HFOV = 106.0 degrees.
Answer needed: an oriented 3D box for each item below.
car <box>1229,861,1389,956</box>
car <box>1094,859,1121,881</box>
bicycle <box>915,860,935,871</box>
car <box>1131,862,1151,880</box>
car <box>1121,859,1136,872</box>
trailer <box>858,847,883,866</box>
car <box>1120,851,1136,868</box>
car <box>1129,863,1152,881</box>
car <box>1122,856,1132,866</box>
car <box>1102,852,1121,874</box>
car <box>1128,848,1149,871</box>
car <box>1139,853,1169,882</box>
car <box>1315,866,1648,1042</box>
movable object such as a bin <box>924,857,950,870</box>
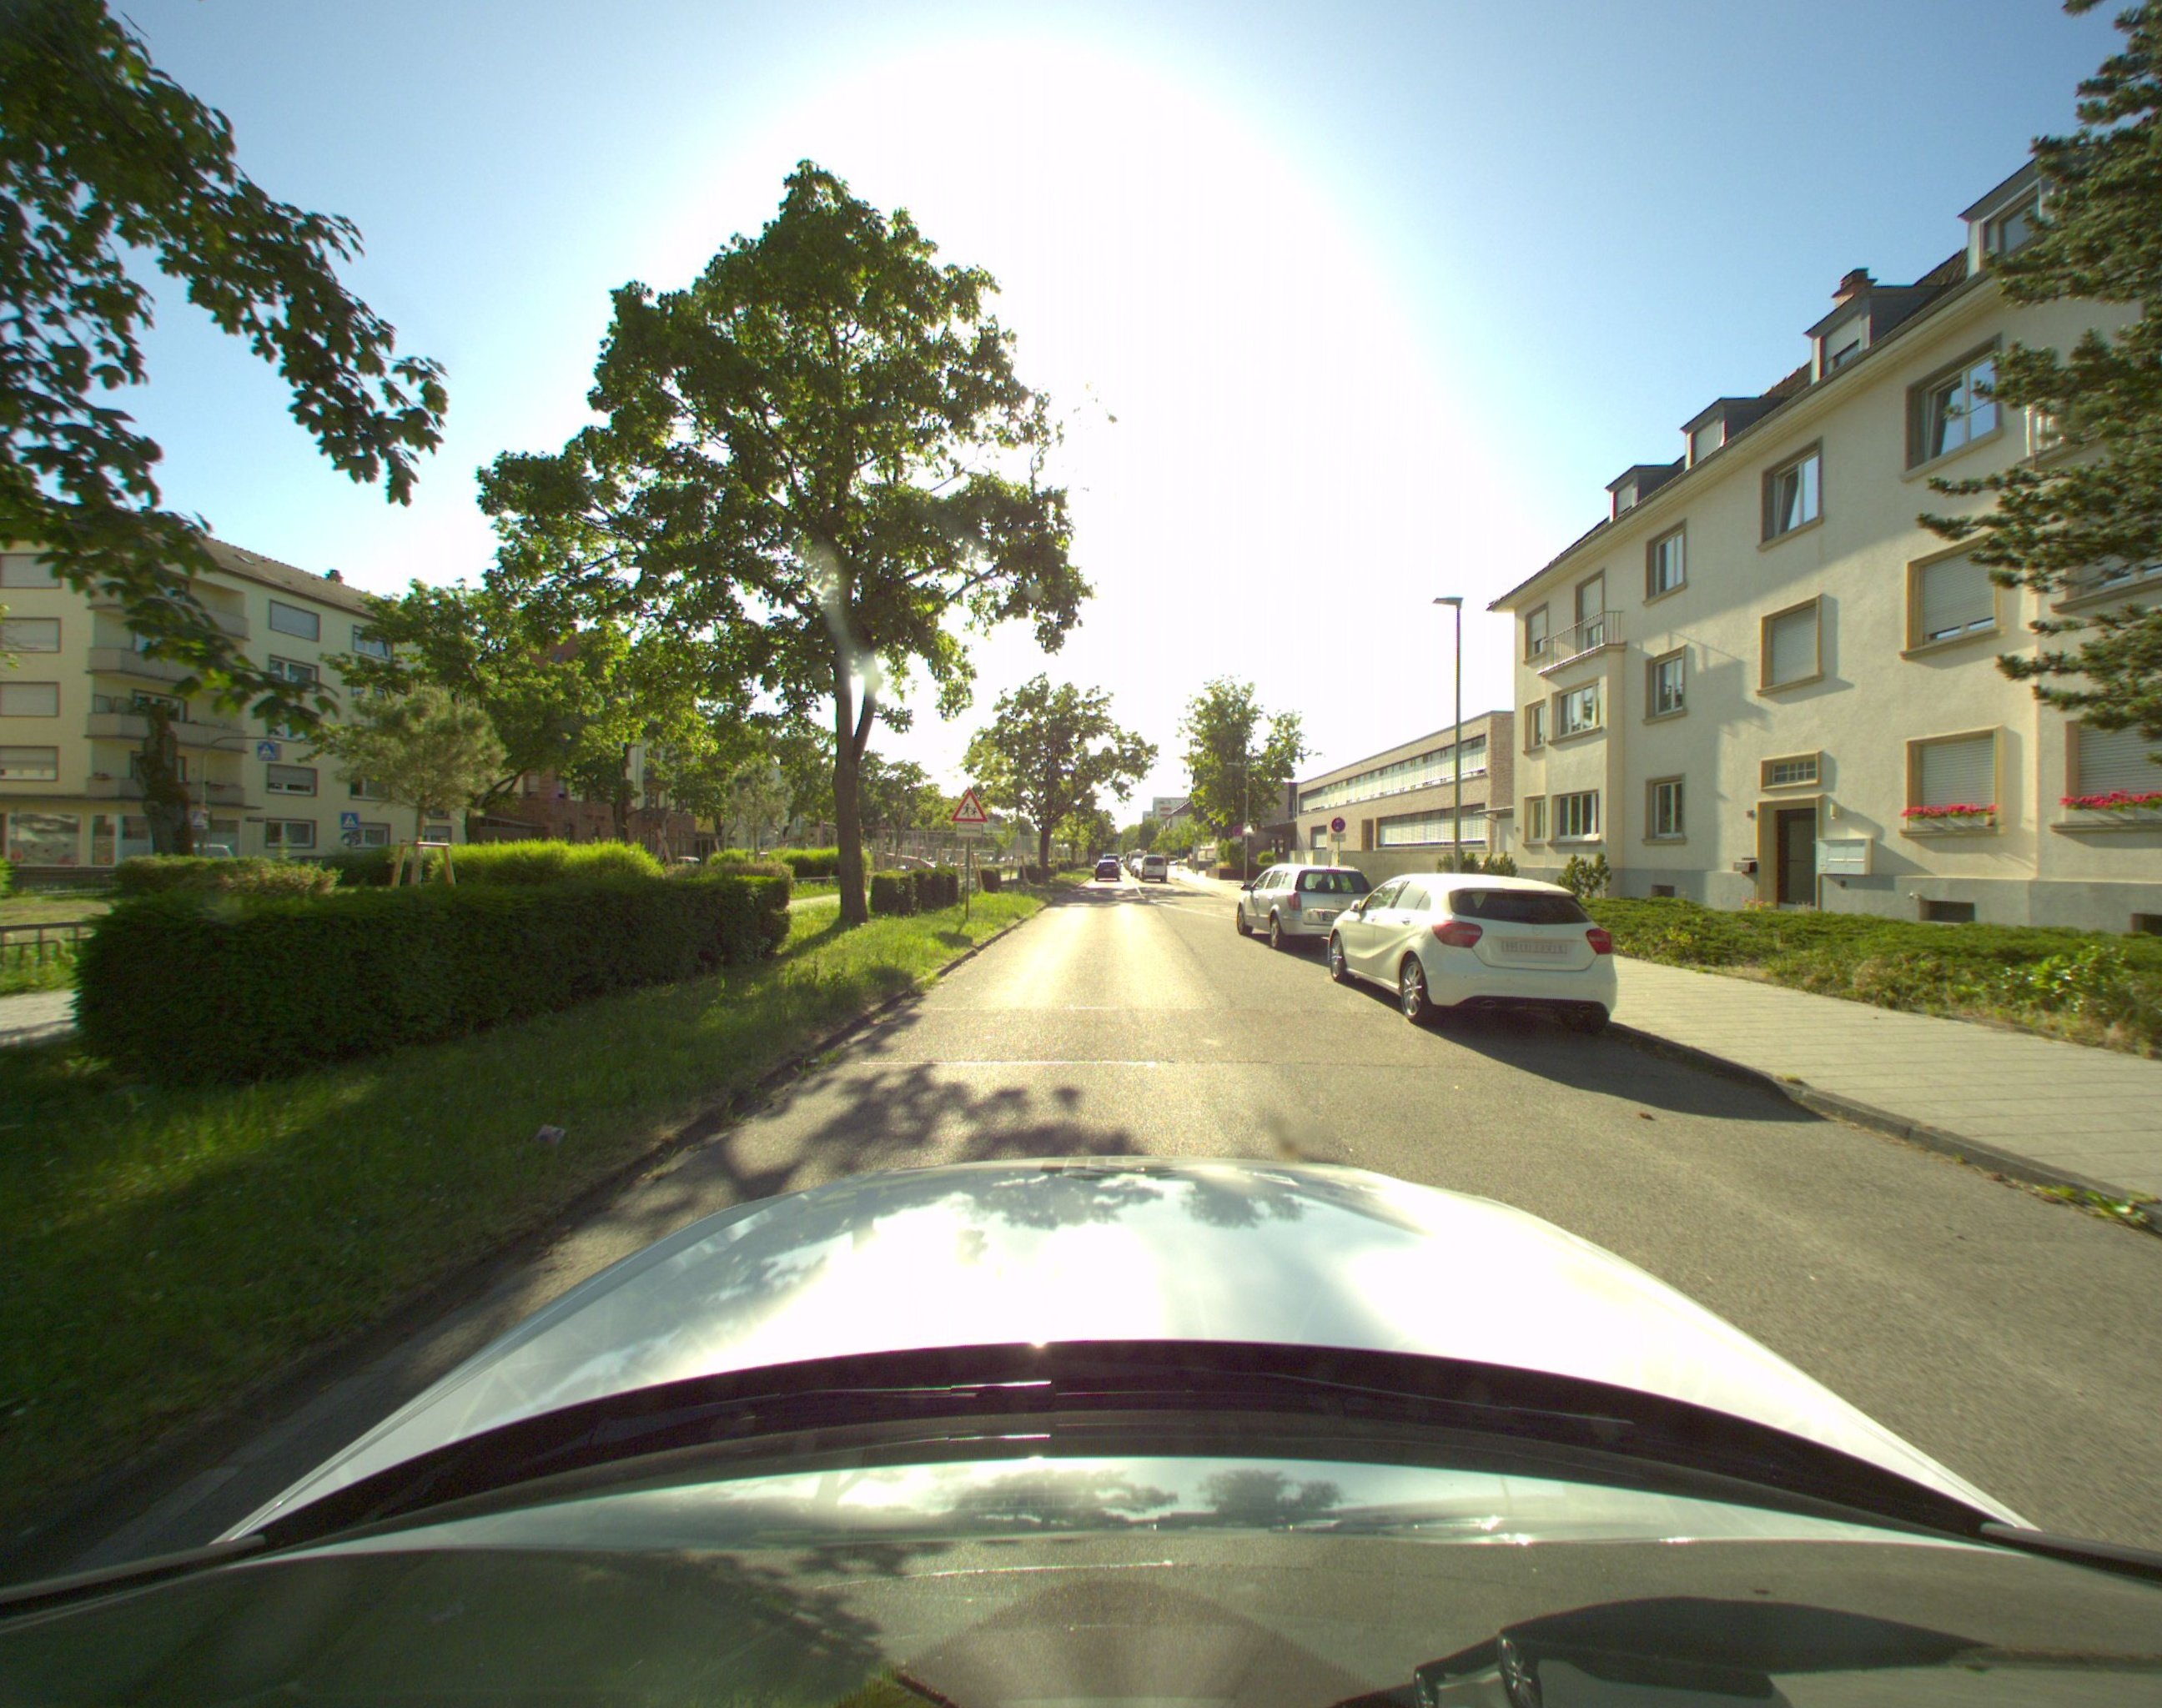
[{"bbox_3d":[4.119,0.902,15.449,1.655,1.465,4.408,2,0,-2],"label":"car"},{"bbox_3d":[1.897,1.110,57.847,1.787,1.510,4.003,1,0,3],"label":"car"},{"bbox_3d":[-15.083,1.111,78.585,1.788,1.107,0.500,1,0,0],"label":"bicycle"},{"bbox_3d":[5.403,1.492,73.421,1.694,1.478,4.176,1,0,3],"label":"car"},{"bbox_3d":[6.455,1.570,111.092,1.839,1.640,4.505,0,0,2],"label":"car"},{"bbox_3d":[-33.737,0.412,130.706,2.334,2.870,5.805,1,0,2],"label":"trailer"},{"bbox_3d":[7.115,0.856,123.602,2.107,2.516,6.533,0,0,1],"label":"car"},{"bbox_3d":[4.829,1.441,66.526,1.695,1.325,4.131,1,0,2],"label":"car"},{"bbox_3d":[8.802,1.276,156.169,1.786,1.855,4.418,1,0,5],"label":"car"},{"bbox_3d":[3.078,0.925,81.364,1.787,2.122,4.003,1,0,3],"label":"car"},{"bbox_3d":[6.583,0.643,93.756,2.232,2.574,5.436,1,0,3],"label":"car"},{"bbox_3d":[5.044,0.893,56.780,1.801,1.908,4.462,1,0,1],"label":"car"},{"bbox_3d":[4.094,0.899,9.225,1.787,1.421,4.291,2,0,2],"label":"car"},{"bbox_3d":[-14.101,0.960,79.761,2.324,1.242,1.055,0,0,-2],"label":"movable object such as a bin"}]
